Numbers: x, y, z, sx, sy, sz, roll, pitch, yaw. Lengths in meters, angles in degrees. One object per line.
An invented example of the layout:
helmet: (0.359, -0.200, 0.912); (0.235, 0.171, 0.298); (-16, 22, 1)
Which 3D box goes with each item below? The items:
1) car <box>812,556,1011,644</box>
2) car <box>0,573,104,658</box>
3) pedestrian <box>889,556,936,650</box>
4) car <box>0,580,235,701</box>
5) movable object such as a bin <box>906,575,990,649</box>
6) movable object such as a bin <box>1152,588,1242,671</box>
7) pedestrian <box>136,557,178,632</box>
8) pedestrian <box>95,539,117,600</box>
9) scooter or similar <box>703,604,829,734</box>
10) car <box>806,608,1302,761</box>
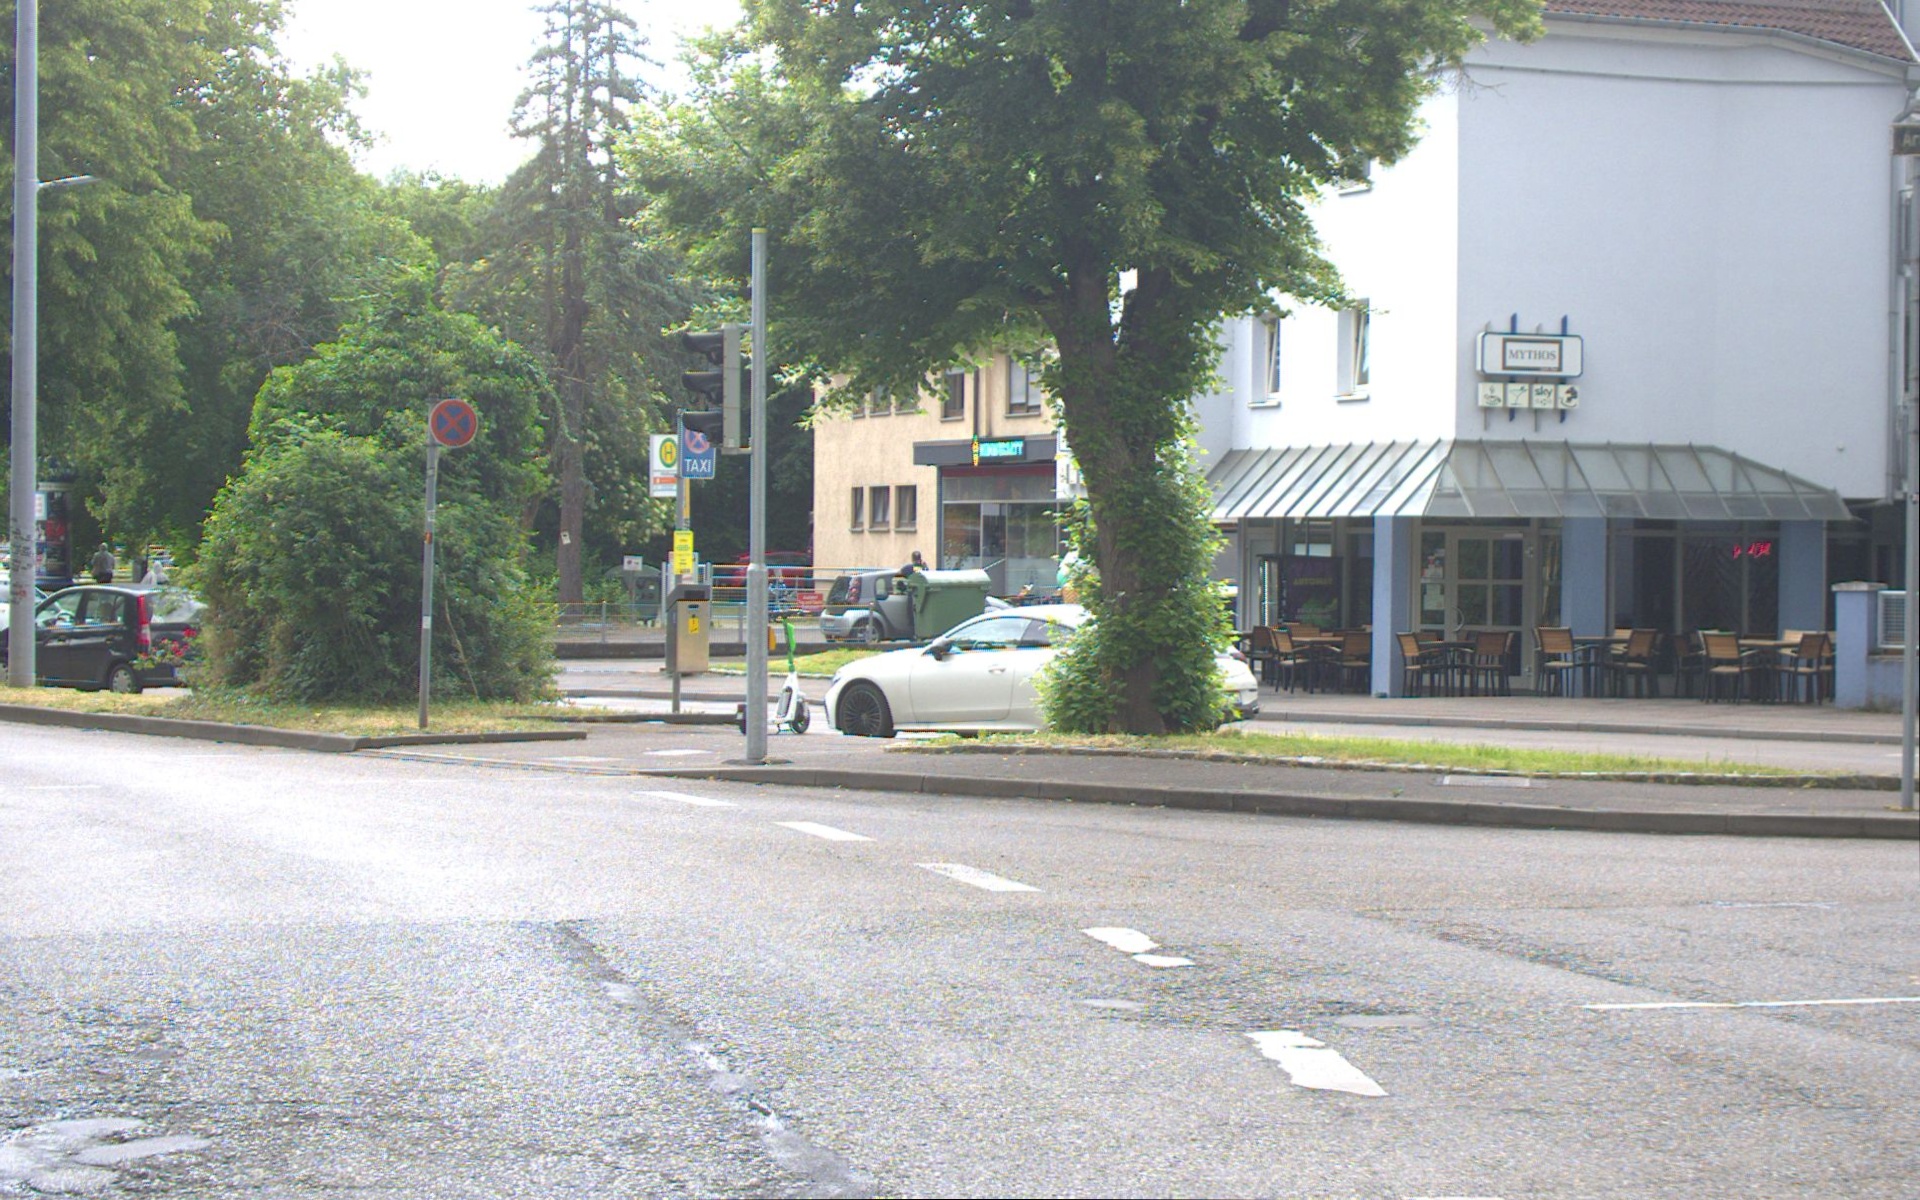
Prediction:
car: (-0.920, -0.021, 64.798); (3.412, 1.625, 1.625); (0, 0, -19)
car: (-16.285, 0.245, 57.577); (1.760, 1.376, 4.258); (1, 1, 18)
pedestrian: (-0.884, 0.056, 63.833); (0.687, 1.723, 0.611); (0, 0, -26)
car: (-10.997, 0.486, 43.517); (3.490, 1.399, 1.570); (2, 1, 34)
movable object such as a bin: (-0.221, 0.205, 62.881); (1.216, 1.340, 0.995); (0, 0, -25)
movable object such as a bin: (4.043, 0.501, 58.818); (1.214, 1.390, 1.161); (0, 0, -16)
pedestrian: (-16.575, -0.116, 70.959); (0.683, 1.546, 0.743); (0, 1, -26)
pedestrian: (-21.789, -0.777, 87.715); (0.510, 1.526, 0.778); (1, 0, -16)
scooter or similar: (-1.780, 0.643, 31.670); (0.412, 1.163, 1.360); (1, -2, 32)
car: (0.885, 0.796, 34.406); (4.784, 1.382, 1.995); (0, 0, 41)
